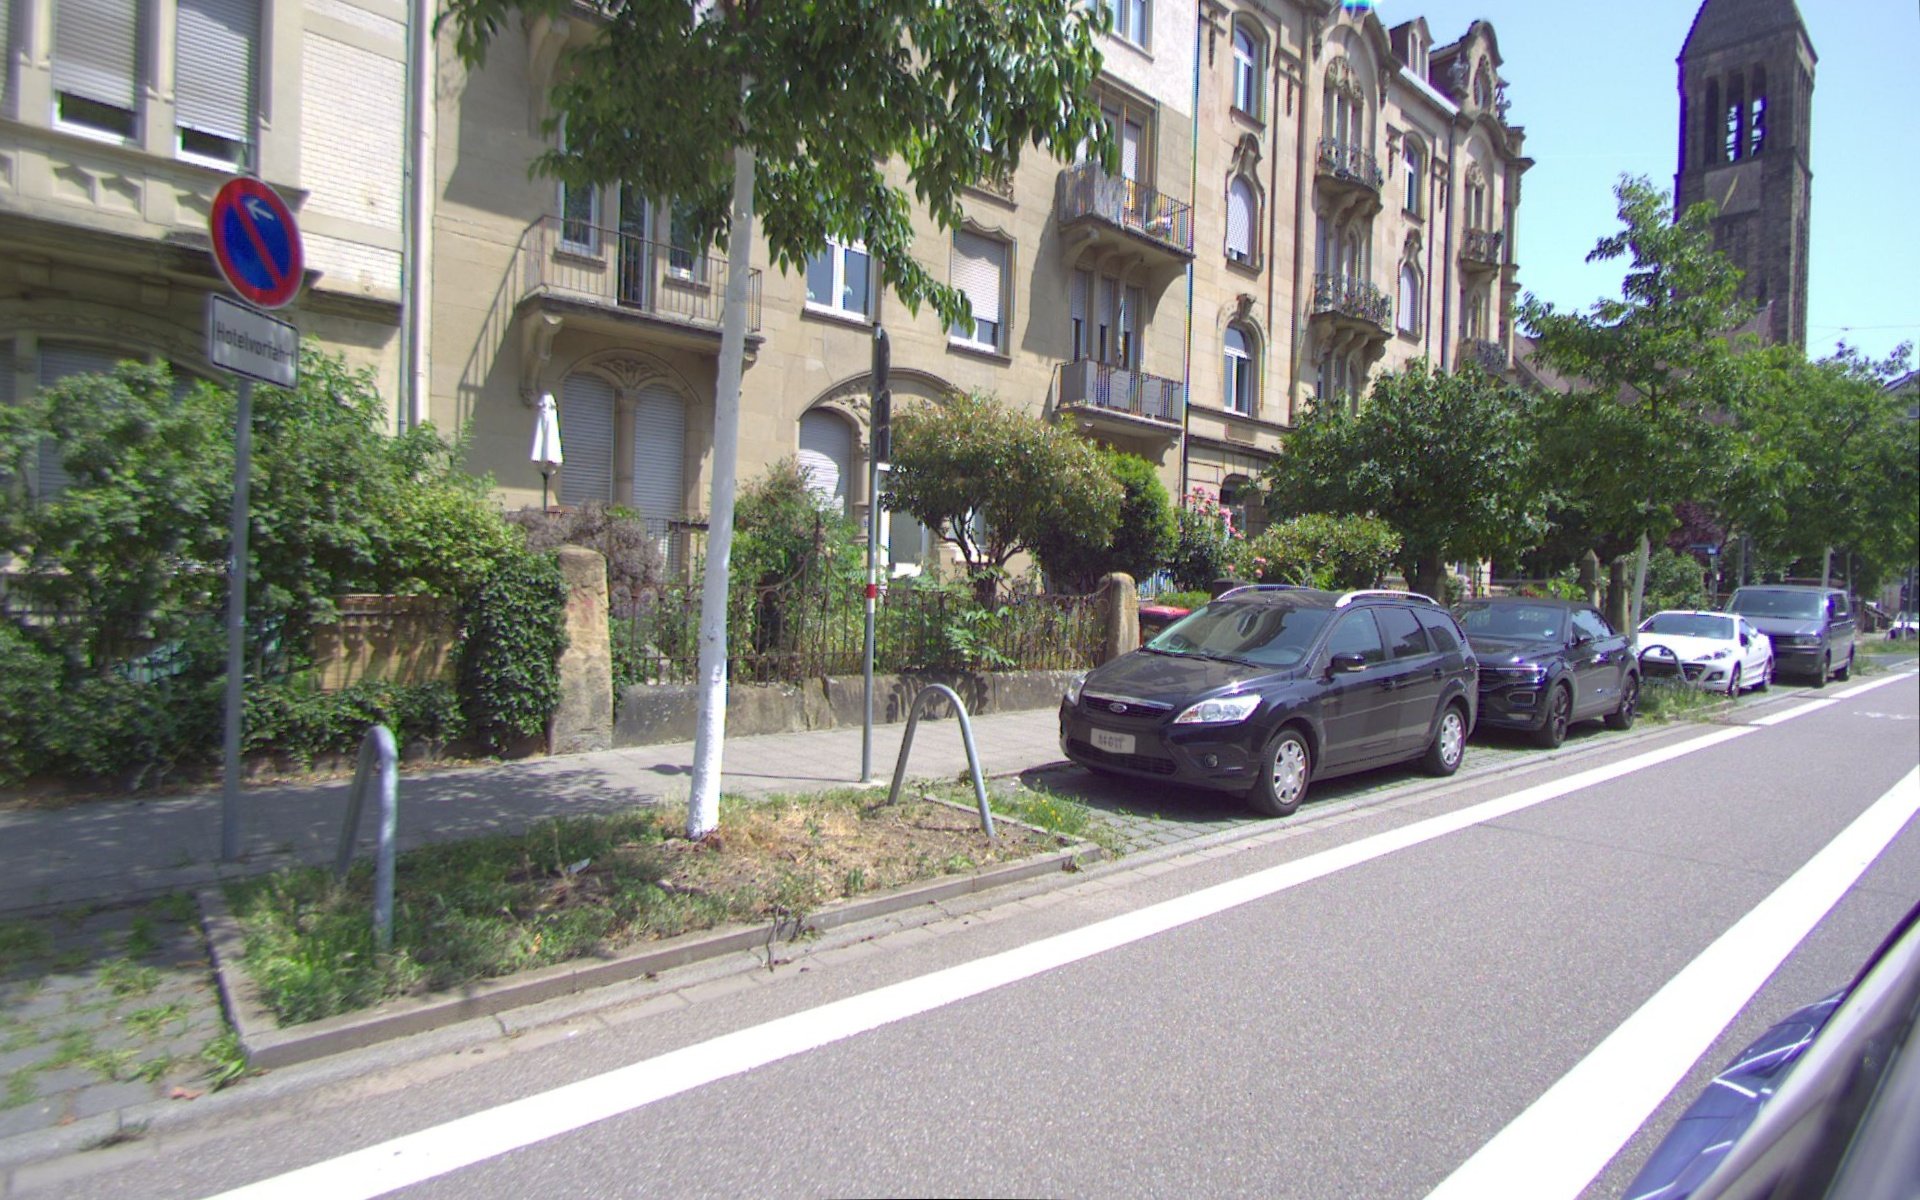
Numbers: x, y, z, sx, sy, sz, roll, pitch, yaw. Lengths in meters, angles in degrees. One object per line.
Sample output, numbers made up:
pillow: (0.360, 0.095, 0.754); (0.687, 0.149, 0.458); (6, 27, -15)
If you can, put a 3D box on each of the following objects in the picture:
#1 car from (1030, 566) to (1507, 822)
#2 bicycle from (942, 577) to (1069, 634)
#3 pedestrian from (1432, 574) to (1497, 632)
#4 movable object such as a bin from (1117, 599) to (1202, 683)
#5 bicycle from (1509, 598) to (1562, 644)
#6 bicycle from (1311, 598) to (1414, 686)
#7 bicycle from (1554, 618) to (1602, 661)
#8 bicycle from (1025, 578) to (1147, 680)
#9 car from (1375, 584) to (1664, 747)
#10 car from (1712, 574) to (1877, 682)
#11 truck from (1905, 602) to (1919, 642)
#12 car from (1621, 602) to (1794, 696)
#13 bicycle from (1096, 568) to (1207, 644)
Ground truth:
car: (2.702, 0.570, 8.248); (4.328, 1.555, 1.732); (1, 0, -42)
bicycle: (0.885, 0.094, 18.720); (2.712, 0.998, 0.584); (0, 1, -42)
pedestrian: (9.801, 0.053, 19.671); (0.747, 1.083, 0.868); (1, 0, -37)
movable object such as a bin: (2.829, 0.566, 14.369); (0.815, 1.082, 0.804); (1, 4, -41)
bicycle: (11.652, 0.405, 20.473); (1.607, 0.891, 0.441); (0, 1, -42)
bicycle: (6.235, 0.613, 15.611); (2.055, 1.277, 0.593); (1, 0, -41)
bicycle: (13.483, 0.848, 22.057); (1.607, 0.891, 0.441); (0, 1, -42)
bicycle: (1.568, 0.338, 12.884); (0.337, 1.089, 1.694); (1, 5, -40)
car: (6.568, 0.637, 11.701); (3.943, 1.550, 1.670); (1, 1, -41)
car: (17.615, 0.531, 21.276); (4.752, 1.971, 1.883); (1, 2, -41)
truck: (39.991, 0.906, 41.436); (1.790, 1.545, 4.394); (2, 1, 44)
car: (13.134, 0.785, 17.696); (3.930, 1.423, 1.614); (1, 1, -41)
bicycle: (3.647, 0.101, 19.096); (2.644, 1.349, 0.565); (1, 1, -43)
